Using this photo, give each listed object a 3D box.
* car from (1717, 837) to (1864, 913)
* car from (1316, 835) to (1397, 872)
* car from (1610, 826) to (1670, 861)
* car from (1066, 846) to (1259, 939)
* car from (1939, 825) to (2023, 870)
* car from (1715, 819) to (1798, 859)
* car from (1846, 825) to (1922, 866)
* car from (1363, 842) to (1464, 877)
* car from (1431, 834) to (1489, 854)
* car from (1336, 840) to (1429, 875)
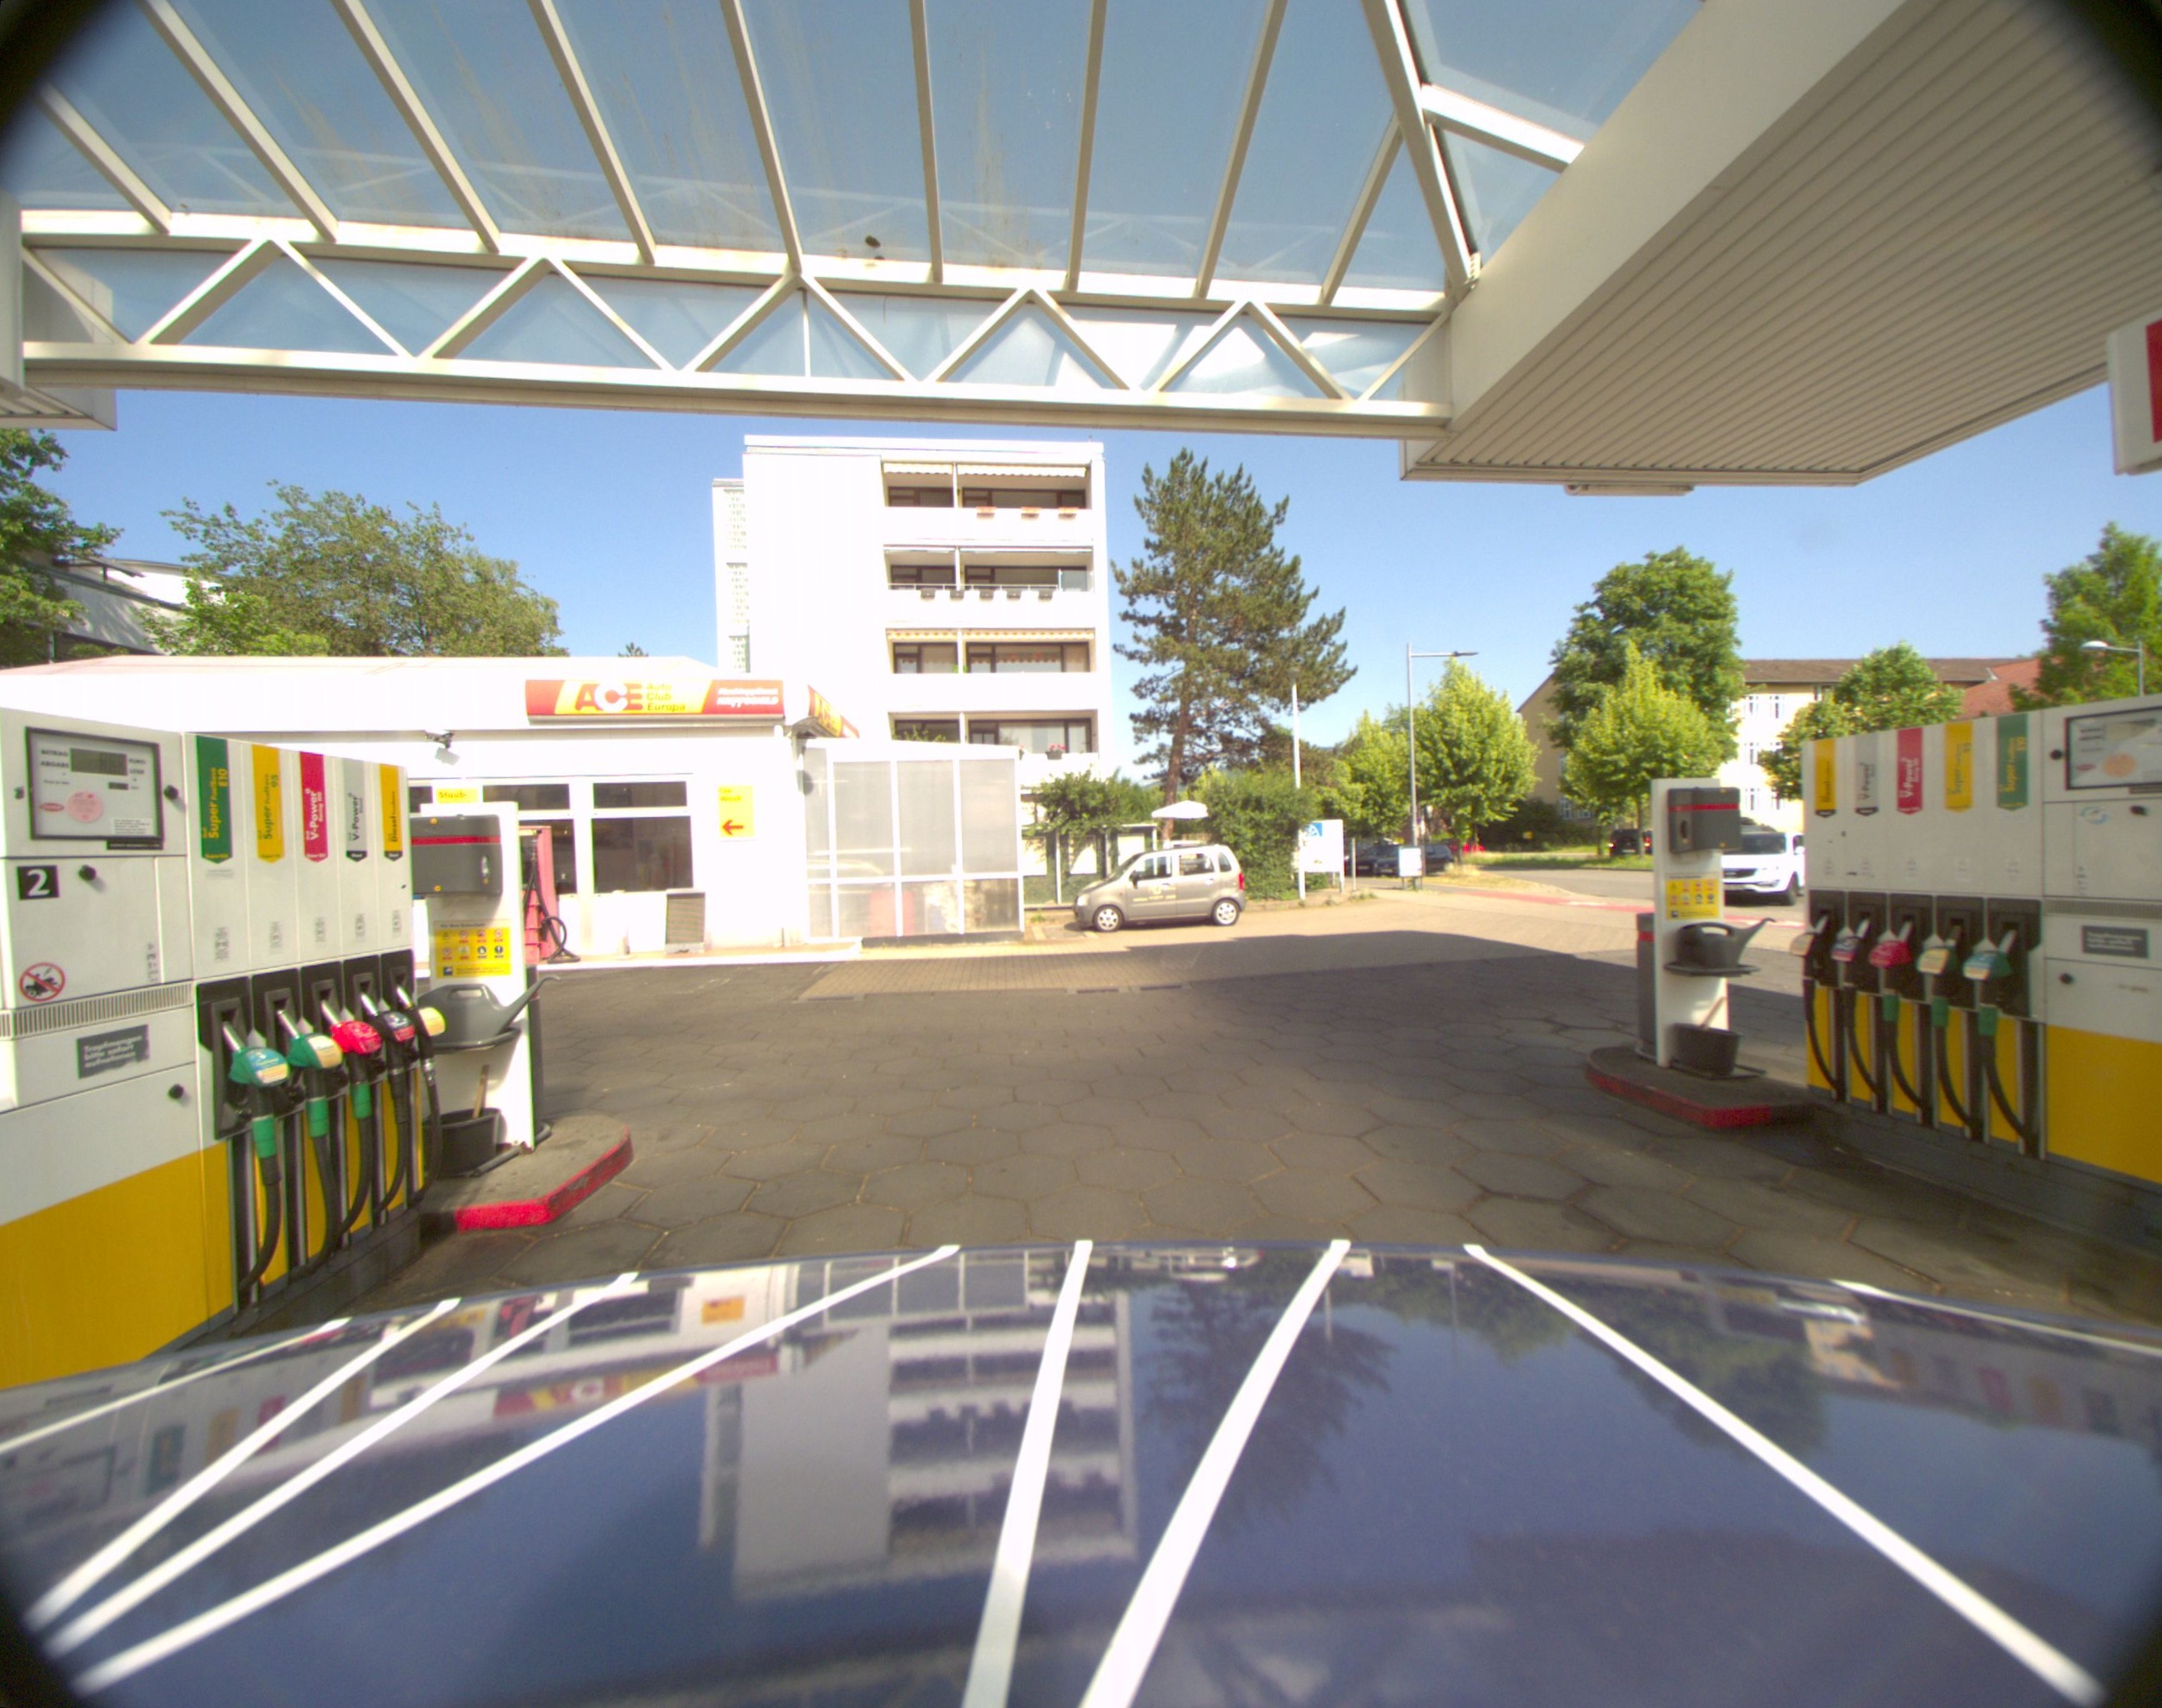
[{"bbox_3d":[18.484,0.474,19.740,4.315,1.696,1.957,-2,1,-36],"label":"car"},{"bbox_3d":[13.644,-0.042,37.561,4.412,1.710,1.700,-2,2,-38],"label":"car"},{"bbox_3d":[29.063,-0.572,39.440,1.876,1.713,4.234,2,2,45],"label":"car"},{"bbox_3d":[1.602,0.737,15.745,3.661,1.608,1.691,-3,1,-4],"label":"car"},{"bbox_3d":[31.492,-0.242,26.680,4.234,1.451,1.737,-1,1,-42],"label":"car"},{"bbox_3d":[30.758,-0.678,34.584,4.233,1.713,1.876,-1,2,-35],"label":"car"},{"bbox_3d":[31.092,-0.356,29.385,4.234,1.451,1.876,-1,2,-42],"label":"car"},{"bbox_3d":[14.123,0.200,32.211,4.233,1.409,1.876,-1,1,-33],"label":"car"},{"bbox_3d":[27.928,-0.744,56.045,3.731,1.383,1.877,0,1,-25],"label":"car"},{"bbox_3d":[13.903,0.123,35.018,4.233,1.473,1.876,-1,1,-33],"label":"car"}]
